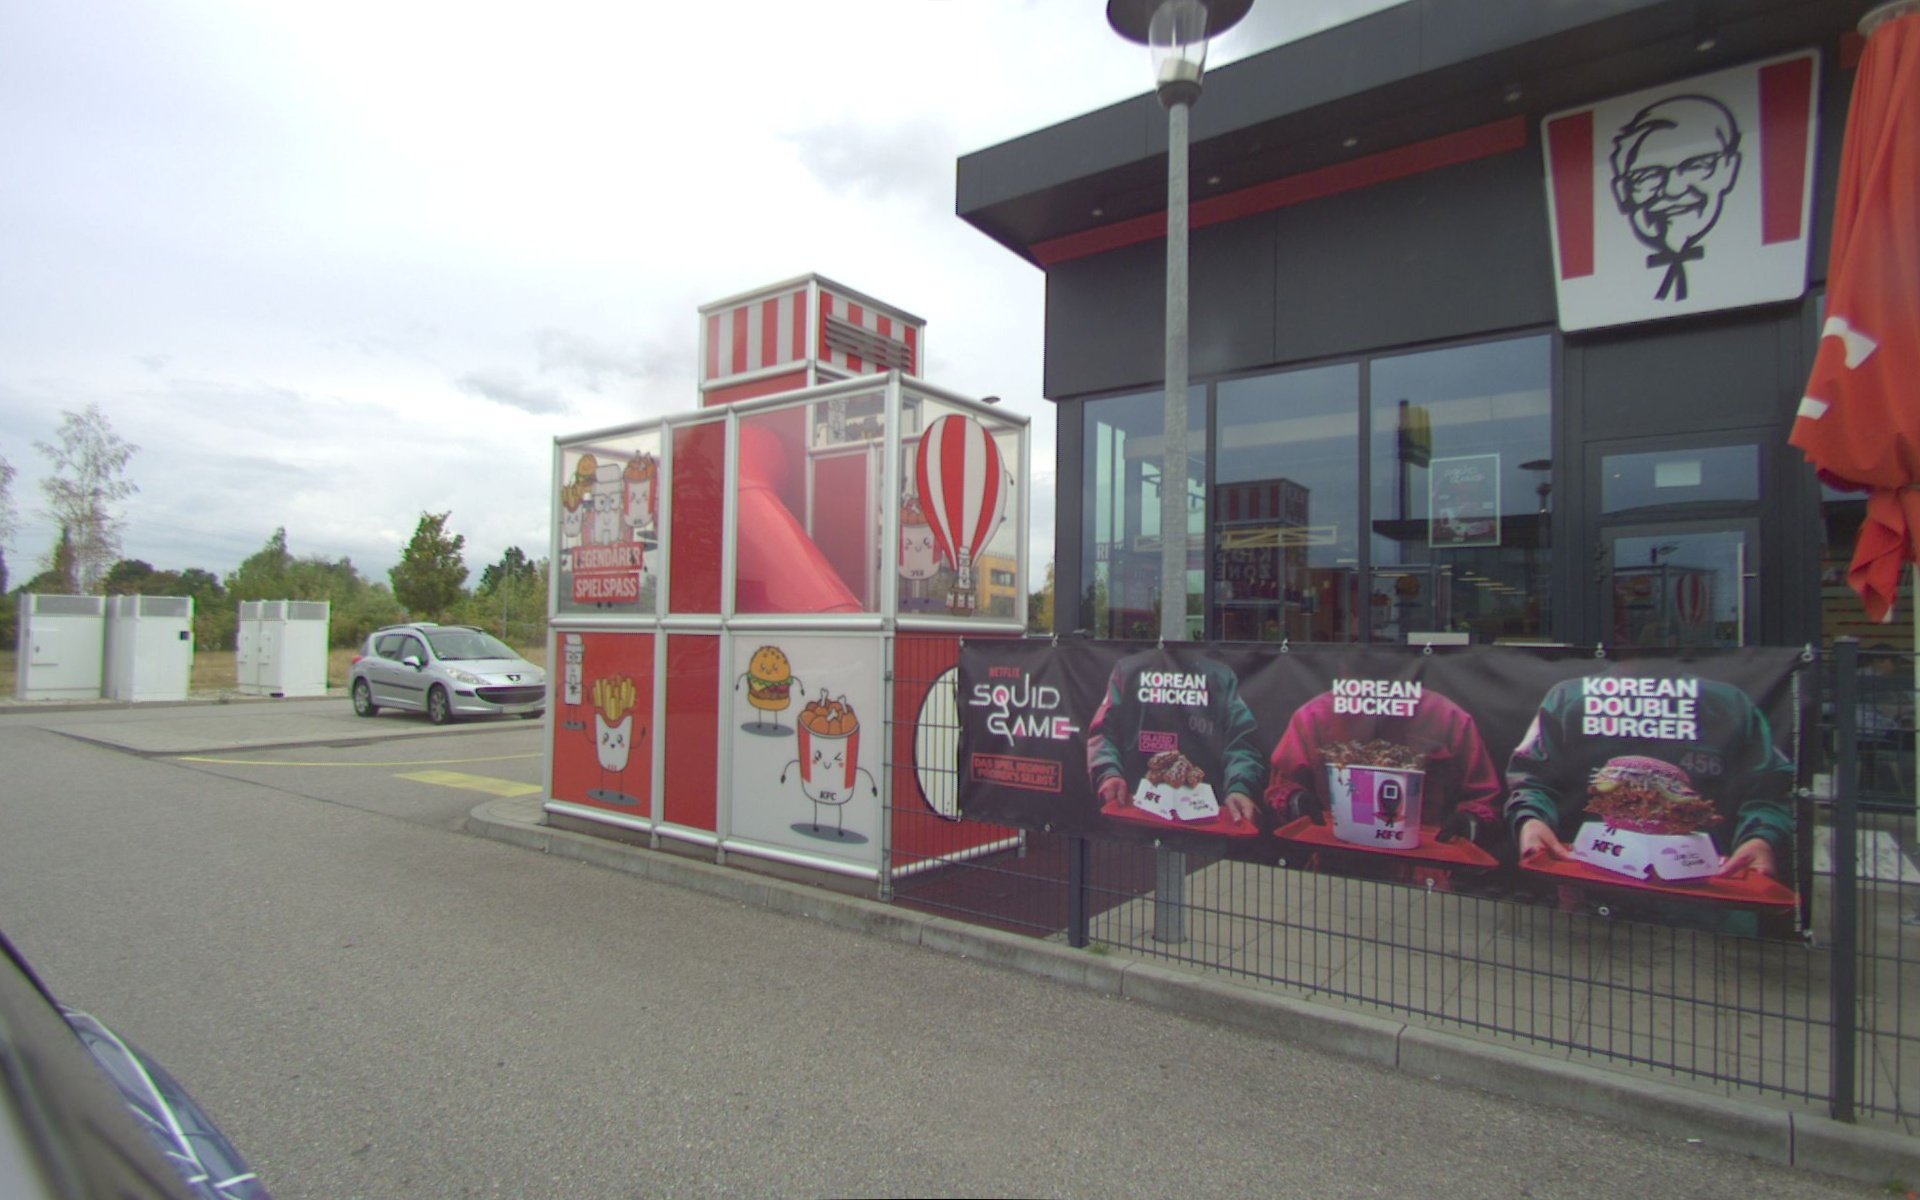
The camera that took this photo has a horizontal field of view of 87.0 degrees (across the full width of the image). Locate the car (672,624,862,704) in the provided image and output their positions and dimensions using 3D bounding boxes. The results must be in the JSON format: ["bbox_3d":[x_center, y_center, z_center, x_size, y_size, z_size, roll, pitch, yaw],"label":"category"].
[{"bbox_3d":[-4.390,1.385,22.677,4.477,1.629,1.566,-2,-3,36],"label":"car"}]

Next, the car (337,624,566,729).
[{"bbox_3d":[-8.352,1.183,16.503,4.160,1.516,1.609,-2,-3,36],"label":"car"}]
